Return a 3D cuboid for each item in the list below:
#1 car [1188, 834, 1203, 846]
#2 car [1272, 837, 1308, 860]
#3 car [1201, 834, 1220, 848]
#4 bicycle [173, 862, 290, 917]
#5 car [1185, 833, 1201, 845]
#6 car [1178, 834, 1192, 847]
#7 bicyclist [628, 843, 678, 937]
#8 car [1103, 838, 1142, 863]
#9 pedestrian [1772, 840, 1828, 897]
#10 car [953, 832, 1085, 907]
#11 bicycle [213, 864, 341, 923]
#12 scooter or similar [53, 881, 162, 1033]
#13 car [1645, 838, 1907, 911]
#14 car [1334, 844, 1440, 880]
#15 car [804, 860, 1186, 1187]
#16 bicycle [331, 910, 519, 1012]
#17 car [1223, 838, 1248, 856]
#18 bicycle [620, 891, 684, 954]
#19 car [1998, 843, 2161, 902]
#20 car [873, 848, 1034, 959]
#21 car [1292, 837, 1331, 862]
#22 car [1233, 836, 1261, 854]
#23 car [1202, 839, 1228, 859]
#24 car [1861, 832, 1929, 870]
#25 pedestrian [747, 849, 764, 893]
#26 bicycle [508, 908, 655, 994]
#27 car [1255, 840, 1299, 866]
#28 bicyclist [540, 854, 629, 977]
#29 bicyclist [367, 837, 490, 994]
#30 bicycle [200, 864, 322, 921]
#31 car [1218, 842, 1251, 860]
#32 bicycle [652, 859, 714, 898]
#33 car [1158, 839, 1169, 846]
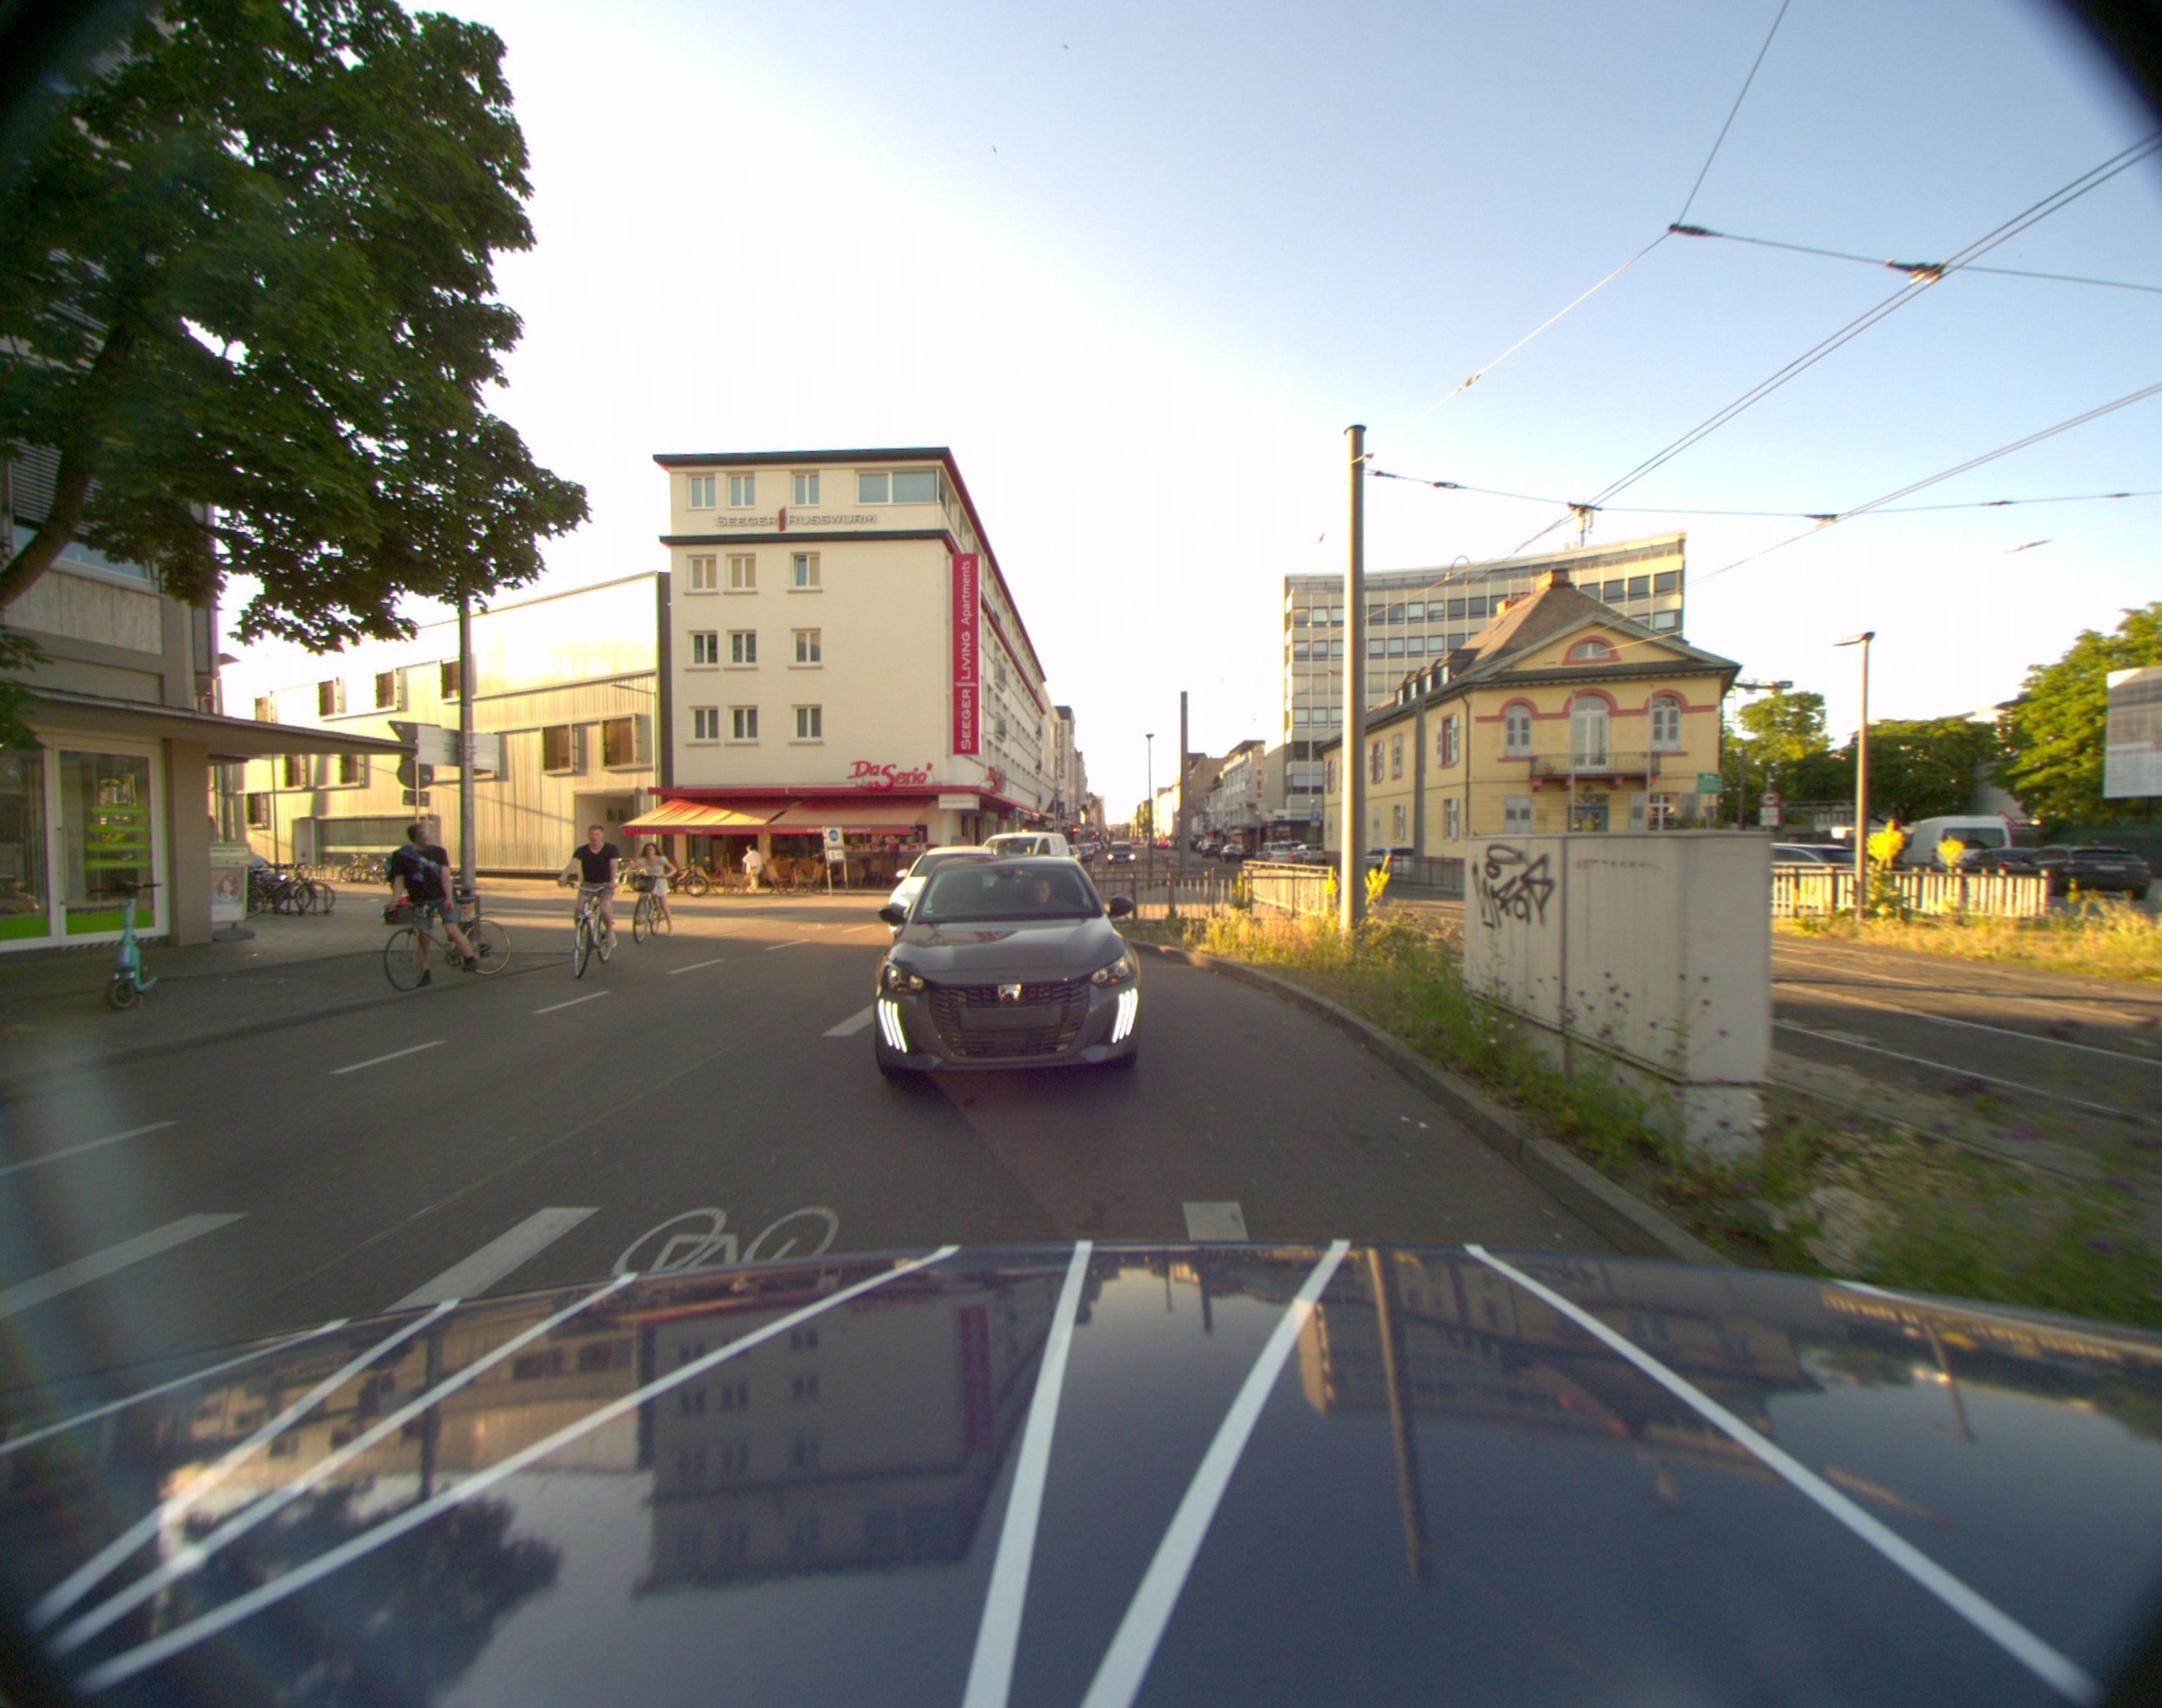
[{"bbox_3d":[19.127,-2.296,127.026,1.999,1.936,3.999,0,1,0],"label":"car"},{"bbox_3d":[15.992,-0.452,58.341,1.736,1.698,3.805,0,1,1],"label":"car"},{"bbox_3d":[18.319,-1.810,107.445,1.999,1.937,3.999,0,1,0],"label":"car"},{"bbox_3d":[-19.069,0.772,17.103,0.484,1.179,1.689,0,-1,20],"label":"bicycle"},{"bbox_3d":[19.593,-2.619,132.803,1.999,2.002,3.998,-2,2,-2],"label":"car"},{"bbox_3d":[19.317,-2.468,140.742,1.999,2.363,3.999,0,1,0],"label":"car"},{"bbox_3d":[-7.015,0.565,12.482,0.589,1.479,0.717,-1,2,-20],"label":"bicyclist"},{"bbox_3d":[2.749,-0.222,49.340,1.997,1.565,4.306,0,0,11],"label":"car"},{"bbox_3d":[19.748,0.374,20.901,1.041,1.494,1.007,1,2,40],"label":"pedestrian"},{"bbox_3d":[-1.554,0.355,21.234,1.997,1.827,4.881,0,1,17],"label":"car"},{"bbox_3d":[-17.007,0.805,16.130,0.553,1.179,1.783,0,-1,20],"label":"bicycle"},{"bbox_3d":[-9.500,0.949,7.407,1.277,1.314,0.516,1,2,33],"label":"scooter or similar"},{"bbox_3d":[16.771,0.395,18.700,2.001,1.508,4.409,-3,2,-13],"label":"car"},{"bbox_3d":[12.846,0.276,32.217,1.917,1.402,4.331,0,1,-15],"label":"car"},{"bbox_3d":[-0.619,0.862,6.193,1.917,1.495,4.699,0,1,-5],"label":"car"},{"bbox_3d":[-7.433,1.176,8.735,0.675,0.896,1.689,0,1,0],"label":"bicycle"},{"bbox_3d":[17.143,-0.753,84.602,1.999,1.936,3.999,0,1,0],"label":"car"},{"bbox_3d":[-7.004,1.087,12.475,0.600,0.820,1.737,-1,2,-19],"label":"bicycle"},{"bbox_3d":[29.347,0.471,22.456,1.779,1.535,4.299,2,2,35],"label":"car"},{"bbox_3d":[-1.946,0.681,13.034,1.815,1.441,4.562,0,2,2],"label":"car"},{"bbox_3d":[16.101,-0.364,53.285,1.736,1.699,3.439,0,1,1],"label":"car"},{"bbox_3d":[17.084,-0.940,78.468,1.999,1.890,3.999,0,1,0],"label":"car"},{"bbox_3d":[13.800,-0.563,78.551,1.998,1.979,4.119,0,1,1],"label":"car"},{"bbox_3d":[41.671,-0.203,38.992,1.713,1.838,4.030,2,2,38],"label":"car"},{"bbox_3d":[-10.854,0.544,25.338,0.509,1.441,0.506,-1,2,-24],"label":"pedestrian"},{"bbox_3d":[-6.222,1.173,9.597,0.615,0.820,1.805,0,1,1],"label":"bicycle"},{"bbox_3d":[12.556,-0.075,48.918,1.838,1.589,4.072,0,1,2],"label":"car"},{"bbox_3d":[-6.225,0.748,9.557,0.614,1.479,0.718,0,2,1],"label":"bicyclist"},{"bbox_3d":[-7.434,0.670,8.697,0.665,1.718,0.810,0,2,0],"label":"bicyclist"},{"bbox_3d":[-17.938,0.821,16.670,0.538,1.179,1.721,0,-1,20],"label":"bicycle"},{"bbox_3d":[12.323,-0.267,61.190,2.017,1.420,4.656,0,1,4],"label":"car"},{"bbox_3d":[-12.494,0.757,23.851,1.632,1.161,0.600,0,4,8],"label":"bicycle"},{"bbox_3d":[17.220,-2.382,158.351,1.848,1.499,3.998,0,1,-2],"label":"car"}]
